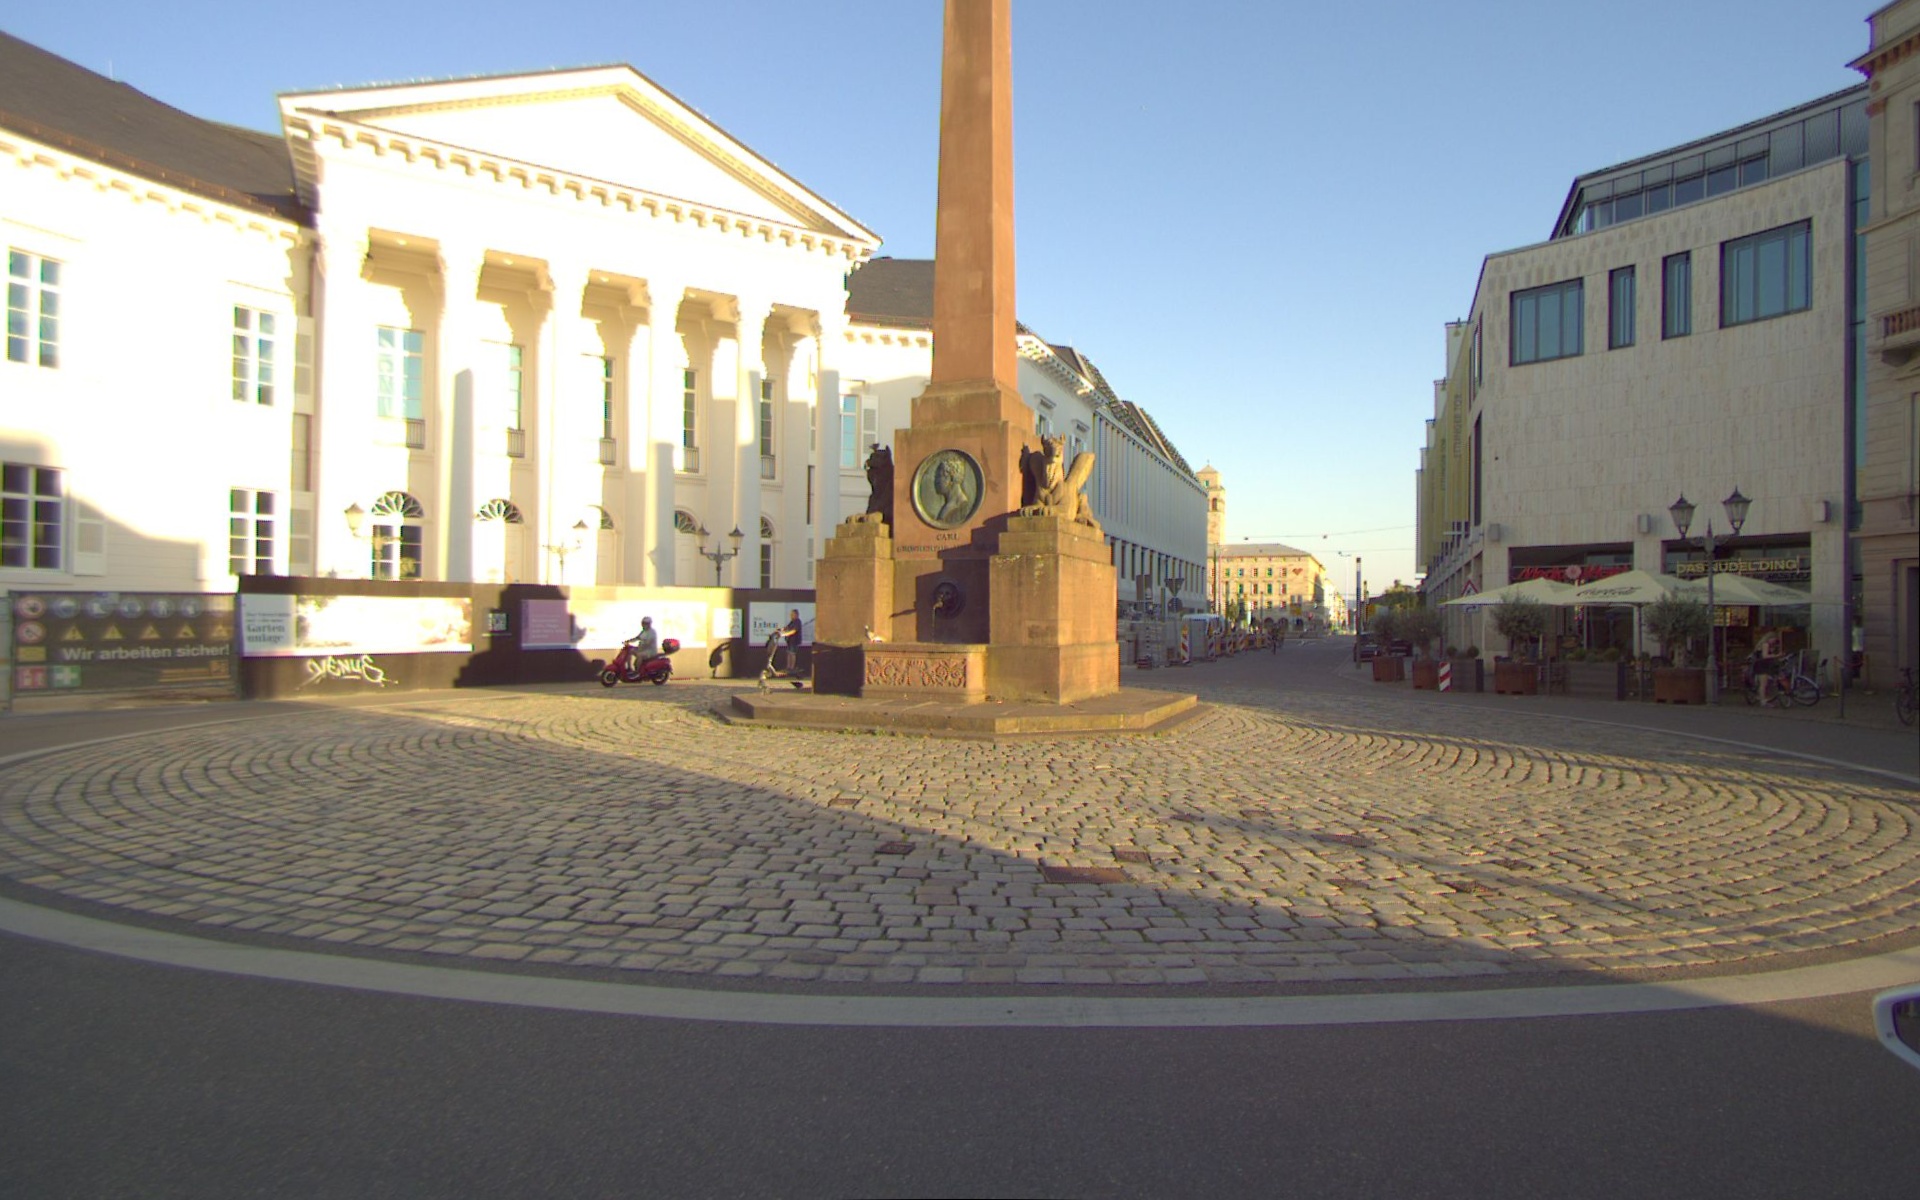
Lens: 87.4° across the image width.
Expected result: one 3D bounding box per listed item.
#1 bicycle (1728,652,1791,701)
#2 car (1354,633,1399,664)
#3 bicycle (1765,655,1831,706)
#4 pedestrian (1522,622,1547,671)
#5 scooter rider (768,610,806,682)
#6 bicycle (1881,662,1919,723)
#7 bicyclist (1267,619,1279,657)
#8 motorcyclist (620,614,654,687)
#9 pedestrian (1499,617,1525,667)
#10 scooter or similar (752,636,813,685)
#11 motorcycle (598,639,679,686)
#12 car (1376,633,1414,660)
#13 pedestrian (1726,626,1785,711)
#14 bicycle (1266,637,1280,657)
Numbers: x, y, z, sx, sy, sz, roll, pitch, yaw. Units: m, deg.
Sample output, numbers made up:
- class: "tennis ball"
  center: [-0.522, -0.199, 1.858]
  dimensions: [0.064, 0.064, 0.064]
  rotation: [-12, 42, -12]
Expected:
- class: "bicycle"
  center: [17.951, 1.693, 22.546]
  dimensions: [1.627, 1.045, 0.596]
  rotation: [1, -1, -31]
- class: "car"
  center: [21.314, 2.449, 51.345]
  dimensions: [1.962, 1.483, 3.997]
  rotation: [0, -1, 25]
- class: "bicycle"
  center: [18.339, 1.752, 21.975]
  dimensions: [1.627, 1.045, 0.616]
  rotation: [1, -1, -31]
- class: "pedestrian"
  center: [21.313, 1.716, 37.264]
  dimensions: [0.695, 1.811, 0.645]
  rotation: [0, -1, 17]
- class: "scooter rider"
  center: [-4.583, 1.200, 26.598]
  dimensions: [0.850, 1.874, 0.544]
  rotation: [1, -1, -30]
- class: "bicycle"
  center: [17.533, 1.684, 18.425]
  dimensions: [1.627, 1.045, 0.504]
  rotation: [1, -1, -31]
- class: "bicyclist"
  center: [19.357, 2.343, 62.151]
  dimensions: [0.590, 2.272, 0.803]
  rotation: [0, -1, 24]
- class: "motorcyclist"
  center: [-7.518, 1.159, 23.403]
  dimensions: [0.682, 1.674, 0.598]
  rotation: [1, -1, -24]
- class: "pedestrian"
  center: [20.569, 1.545, 37.430]
  dimensions: [0.625, 1.840, 0.699]
  rotation: [0, -1, 7]
- class: "scooter or similar"
  center: [-4.678, 1.577, 26.535]
  dimensions: [1.481, 1.261, 0.544]
  rotation: [1, -1, -31]
- class: "motorcycle"
  center: [-7.488, 1.451, 23.413]
  dimensions: [1.730, 1.045, 0.598]
  rotation: [1, -1, -24]
- class: "car"
  center: [25.556, 2.676, 58.903]
  dimensions: [1.962, 1.483, 3.997]
  rotation: [0, -1, 25]
- class: "pedestrian"
  center: [16.979, 1.440, 21.467]
  dimensions: [0.892, 1.751, 0.848]
  rotation: [0, -1, 32]
- class: "bicycle"
  center: [19.375, 2.895, 62.195]
  dimensions: [0.590, 1.153, 1.754]
  rotation: [0, -1, 24]
